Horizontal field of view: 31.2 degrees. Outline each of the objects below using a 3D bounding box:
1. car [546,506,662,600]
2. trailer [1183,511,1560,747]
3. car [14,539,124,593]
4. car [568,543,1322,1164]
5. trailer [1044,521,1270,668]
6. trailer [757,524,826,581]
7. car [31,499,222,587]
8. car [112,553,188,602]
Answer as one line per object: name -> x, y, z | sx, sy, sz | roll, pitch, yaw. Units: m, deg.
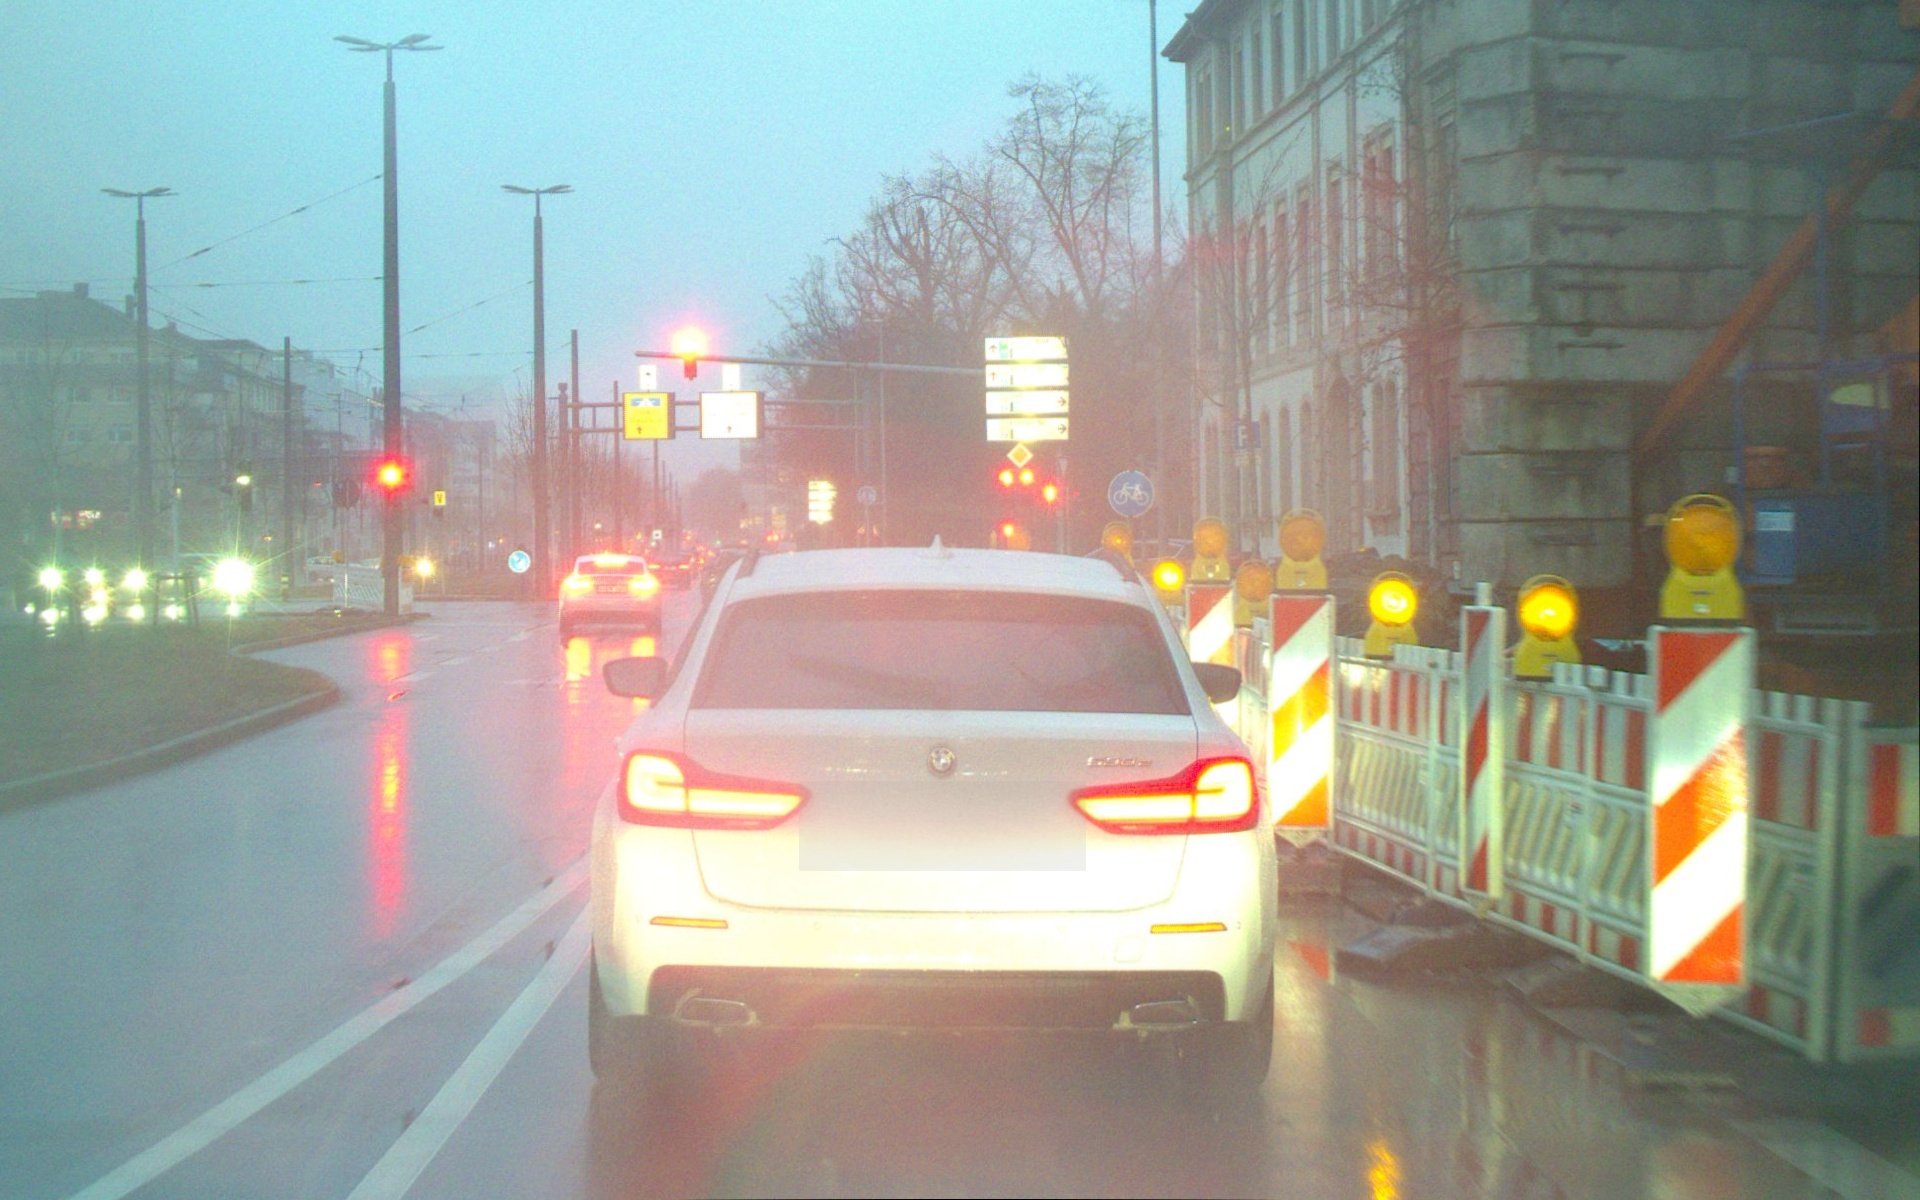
car -> -6.413, -0.873, 62.296 | 1.901, 1.636, 4.001 | 0, 1, -3
trailer -> 2.858, 0.127, 24.916 | 1.835, 1.485, 4.848 | -1, 2, -4
car -> -25.453, -0.977, 98.181 | 1.740, 1.487, 3.542 | -1, 2, -38
car -> -0.211, 0.579, 10.927 | 1.851, 1.460, 4.948 | 0, 1, -4
trailer -> 1.939, -0.095, 34.828 | 1.850, 1.341, 3.529 | -1, 2, -4
trailer -> -5.012, -1.419, 101.883 | 1.834, 1.637, 4.001 | -1, 1, -6
car -> -19.096, -1.321, 78.713 | 3.986, 1.968, 2.001 | -1, 2, -22
car -> -28.753, -0.822, 122.105 | 1.857, 1.634, 4.033 | 0, 1, -2
